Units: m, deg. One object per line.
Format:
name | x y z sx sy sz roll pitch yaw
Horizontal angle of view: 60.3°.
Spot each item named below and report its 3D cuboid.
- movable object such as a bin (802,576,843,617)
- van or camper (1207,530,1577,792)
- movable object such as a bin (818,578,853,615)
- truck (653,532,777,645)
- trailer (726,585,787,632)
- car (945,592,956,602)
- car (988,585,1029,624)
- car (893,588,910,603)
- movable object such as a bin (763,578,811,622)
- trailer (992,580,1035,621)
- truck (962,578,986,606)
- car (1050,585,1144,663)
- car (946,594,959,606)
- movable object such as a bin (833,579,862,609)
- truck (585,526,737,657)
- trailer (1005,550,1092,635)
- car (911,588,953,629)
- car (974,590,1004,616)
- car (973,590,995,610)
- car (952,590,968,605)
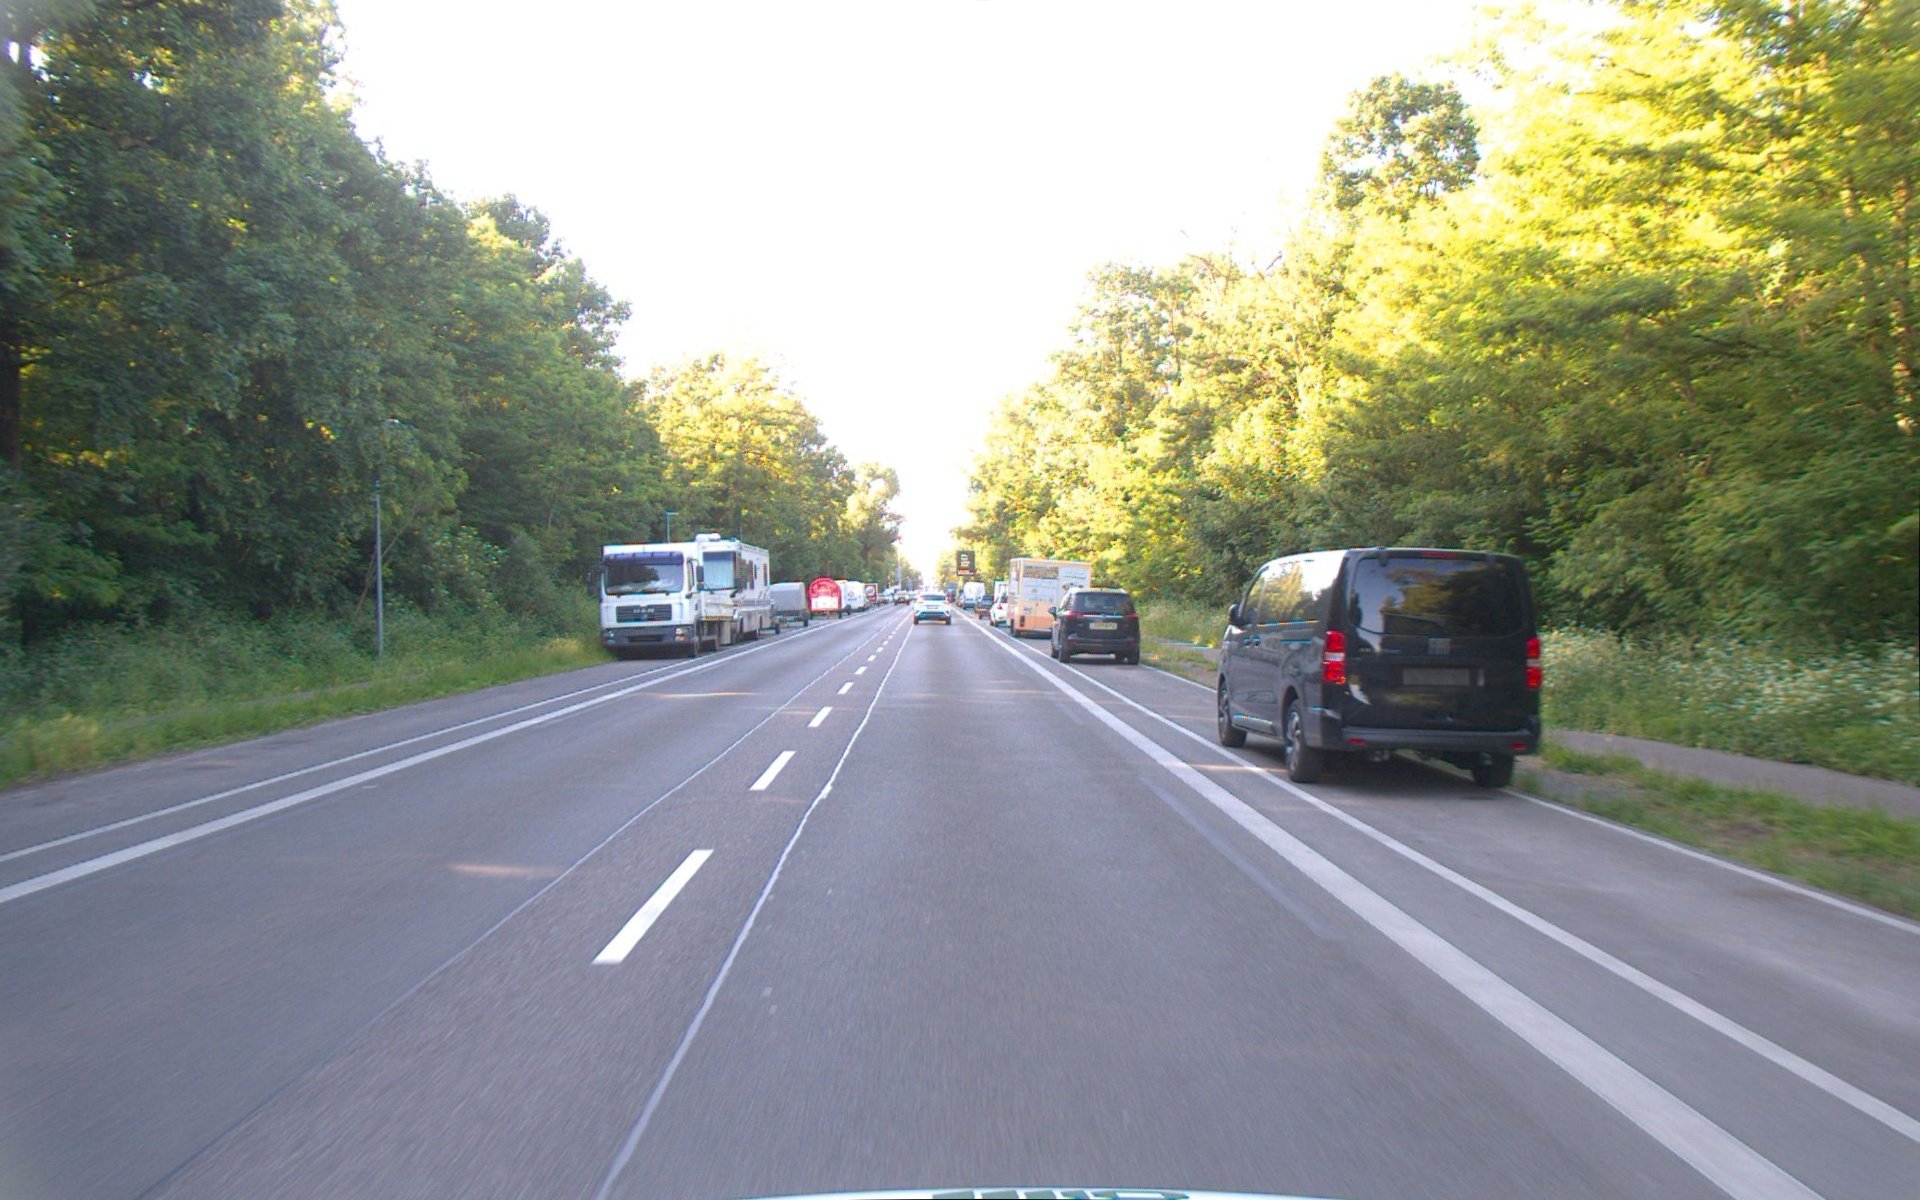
movable object such as a bin | -8.529 -0.225 102.918 2.275 2.545 3.999 0 0 -1
van or camper | 3.698 0.449 15.249 1.953 1.966 5.198 1 0 -1
movable object such as a bin | -8.795 -0.263 117.261 2.275 2.545 3.999 0 0 -1
truck | -7.969 -0.373 55.233 2.652 3.406 10.921 0 0 -1
trailer | -7.974 0.312 65.243 1.953 1.780 4.327 0 0 -1
car | -1.441 -0.421 248.324 1.622 1.504 3.753 0 0 -1
car | 2.189 0.187 75.911 1.697 1.713 3.999 0 0 -1
car | -7.002 -0.586 198.642 1.953 1.707 3.999 -1 0 -1
movable object such as a bin | -8.185 -0.023 78.574 1.914 2.049 3.999 0 0 -1
trailer | 2.649 0.005 82.603 1.953 2.004 3.999 0 0 -1
truck | 1.286 -0.693 150.769 2.054 2.495 5.679 0 0 -1
car | 3.099 0.510 38.085 1.803 1.691 4.000 1 0 -1
car | -0.927 -0.010 203.715 1.622 1.504 3.753 0 0 -1
movable object such as a bin | -9.500 -0.500 139.813 2.275 2.545 3.999 0 0 -1
truck | -7.746 -0.224 43.874 2.652 3.147 7.988 0 0 -1
trailer | 3.133 -0.278 59.928 2.701 2.920 6.587 0 0 -1
car | -1.322 0.382 79.116 1.987 1.872 4.028 0 1 -1
car | 1.657 0.146 95.817 1.622 1.504 3.753 0 0 -1
car | 1.834 0.011 126.733 1.622 1.504 3.753 0 0 -1
car | -0.015 -0.237 171.264 1.622 1.504 3.753 0 0 -1
